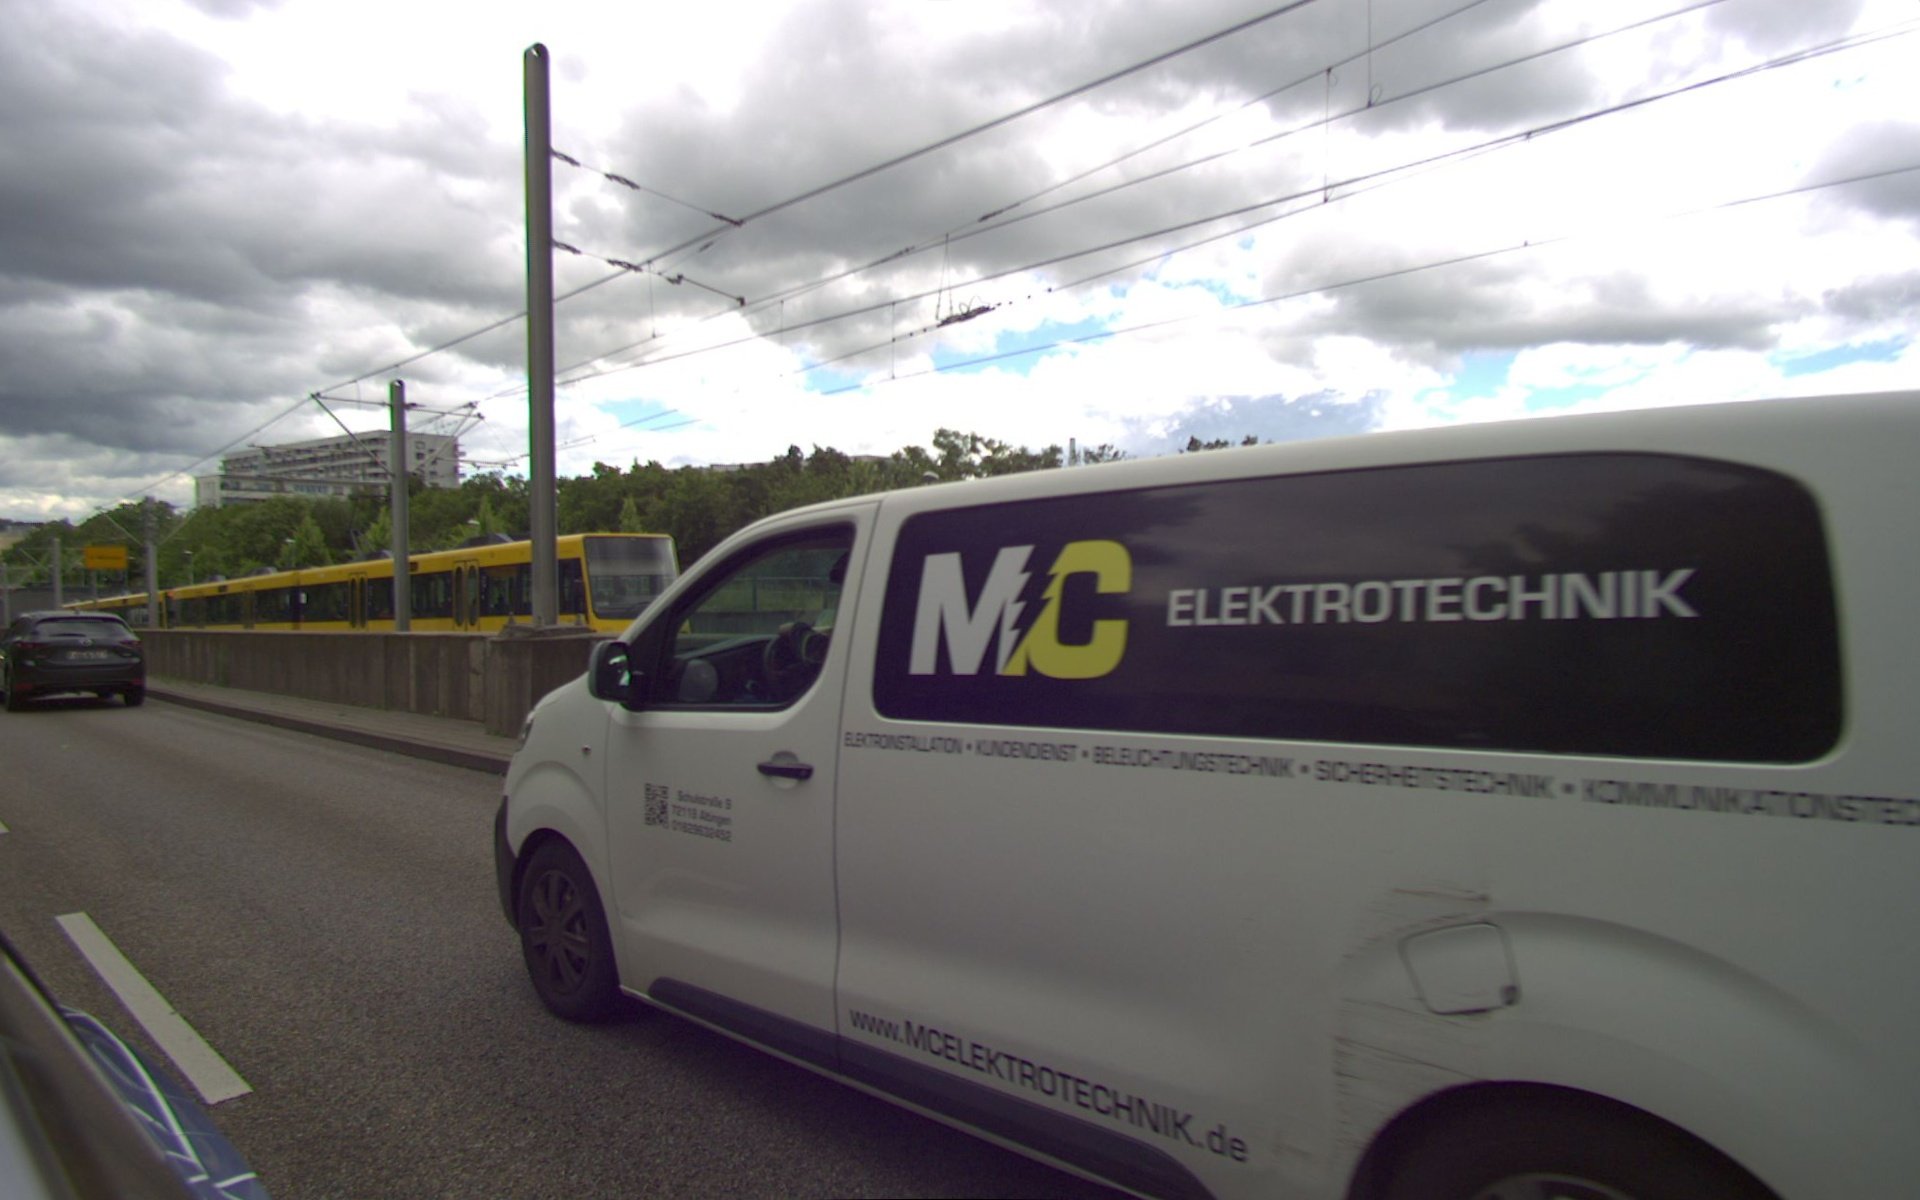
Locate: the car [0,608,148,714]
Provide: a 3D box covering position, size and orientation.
[{"bbox_3d":[-16.146,1.033,18.166,4.063,1.700,1.759,-2,-2,41],"label":"car"}]

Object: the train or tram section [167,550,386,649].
[{"bbox_3d":[-27.642,0.050,40.091,18.468,3.217,2.751,-1,0,42],"label":"train or tram section"}]

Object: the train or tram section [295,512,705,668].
[{"bbox_3d":[-13.705,-0.125,27.943,18.461,3.217,2.752,-1,0,41],"label":"train or tram section"}]

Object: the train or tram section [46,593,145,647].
[{"bbox_3d":[-57.473,1.355,66.998,17.560,3.215,2.682,-1,-1,42],"label":"train or tram section"}]

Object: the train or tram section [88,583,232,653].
[{"bbox_3d":[-43.458,1.007,54.469,19.908,3.239,2.706,-1,-1,42],"label":"train or tram section"}]

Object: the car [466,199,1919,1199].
[{"bbox_3d":[0.547,0.433,3.074,4.902,1.847,1.877,-1,-1,40],"label":"car"}]
